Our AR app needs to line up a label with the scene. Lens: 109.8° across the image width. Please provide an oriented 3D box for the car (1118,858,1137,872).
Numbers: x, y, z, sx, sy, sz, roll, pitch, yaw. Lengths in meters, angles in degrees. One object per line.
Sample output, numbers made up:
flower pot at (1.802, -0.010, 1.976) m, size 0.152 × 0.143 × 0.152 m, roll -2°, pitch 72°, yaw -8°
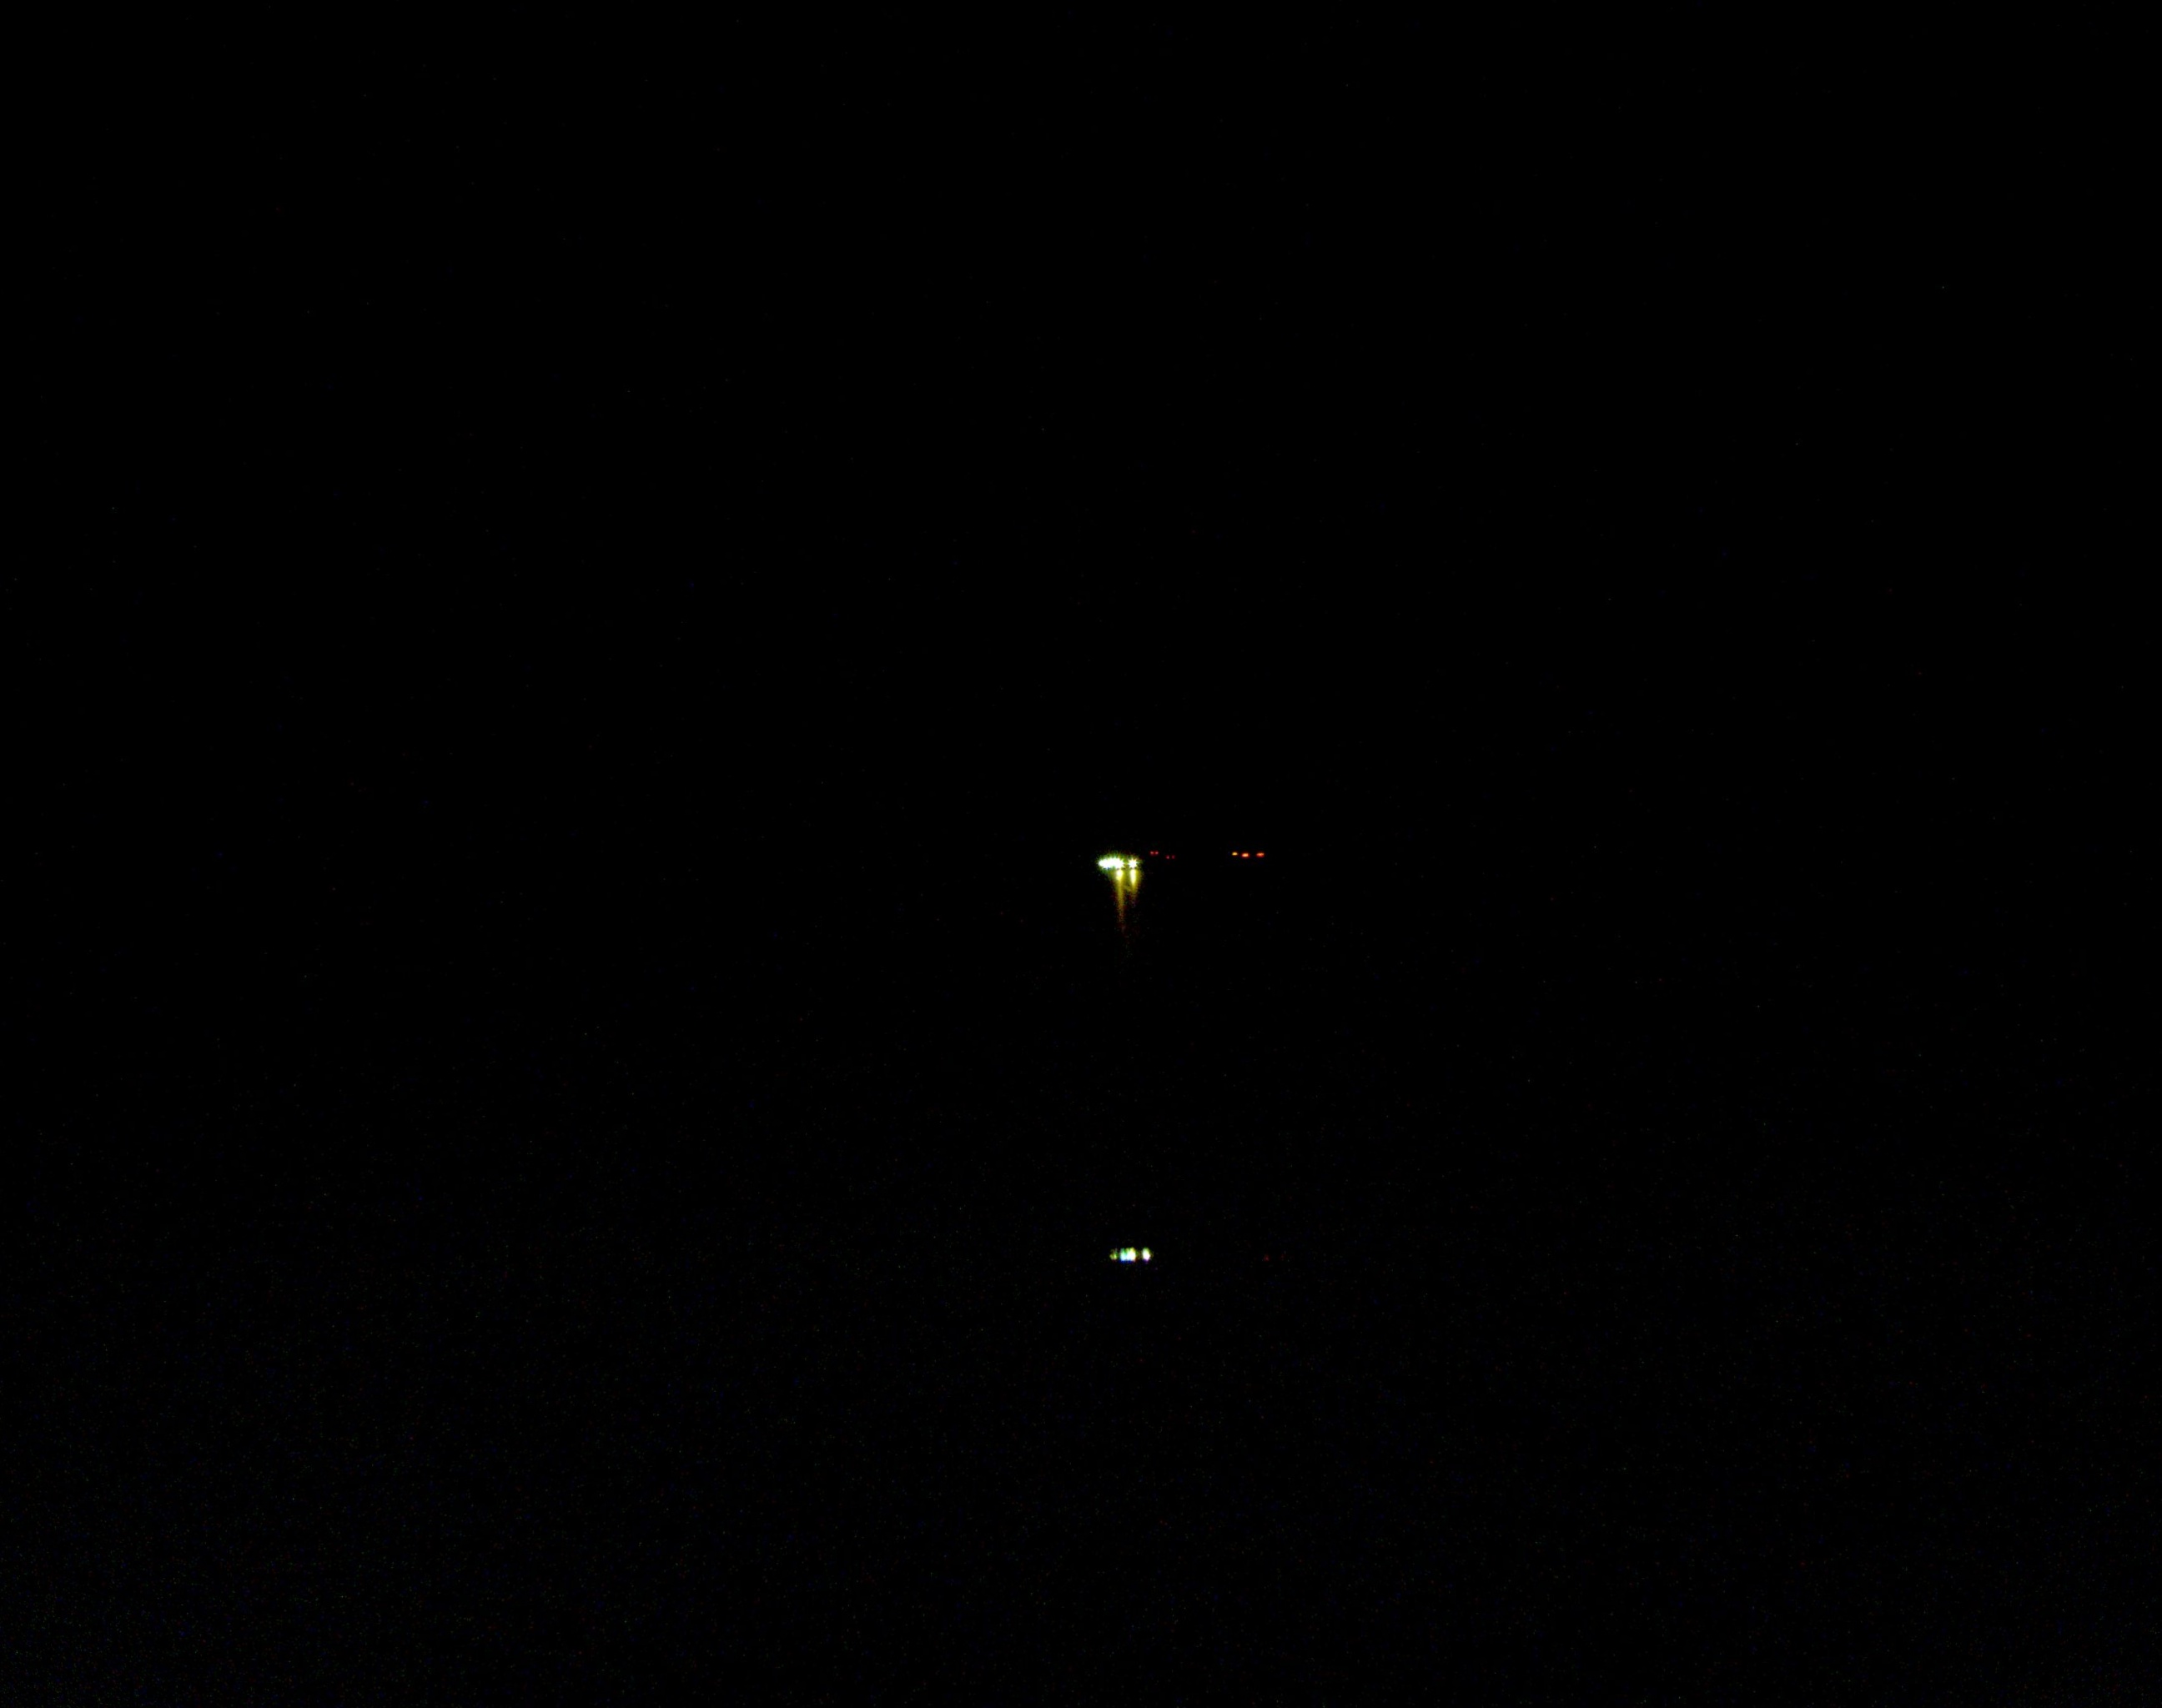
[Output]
car at (5.259, 1.213, 86.516) m, size 1.998 × 1.422 × 4.330 m, roll -5°, pitch 0°, yaw 3°

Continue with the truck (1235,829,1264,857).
truck at (24.368, -1.577, 110.188) m, size 2.525 × 3.829 × 9.066 m, roll -2°, pitch 0°, yaw 3°

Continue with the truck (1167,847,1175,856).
truck at (31.100, -0.898, 263.012) m, size 2.202 × 2.709 × 7.626 m, roll -5°, pitch -1°, yaw 3°

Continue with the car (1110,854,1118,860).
car at (10.225, 0.830, 234.781) m, size 1.999 × 1.724 × 4.224 m, roll -3°, pitch 0°, yaw -1°
